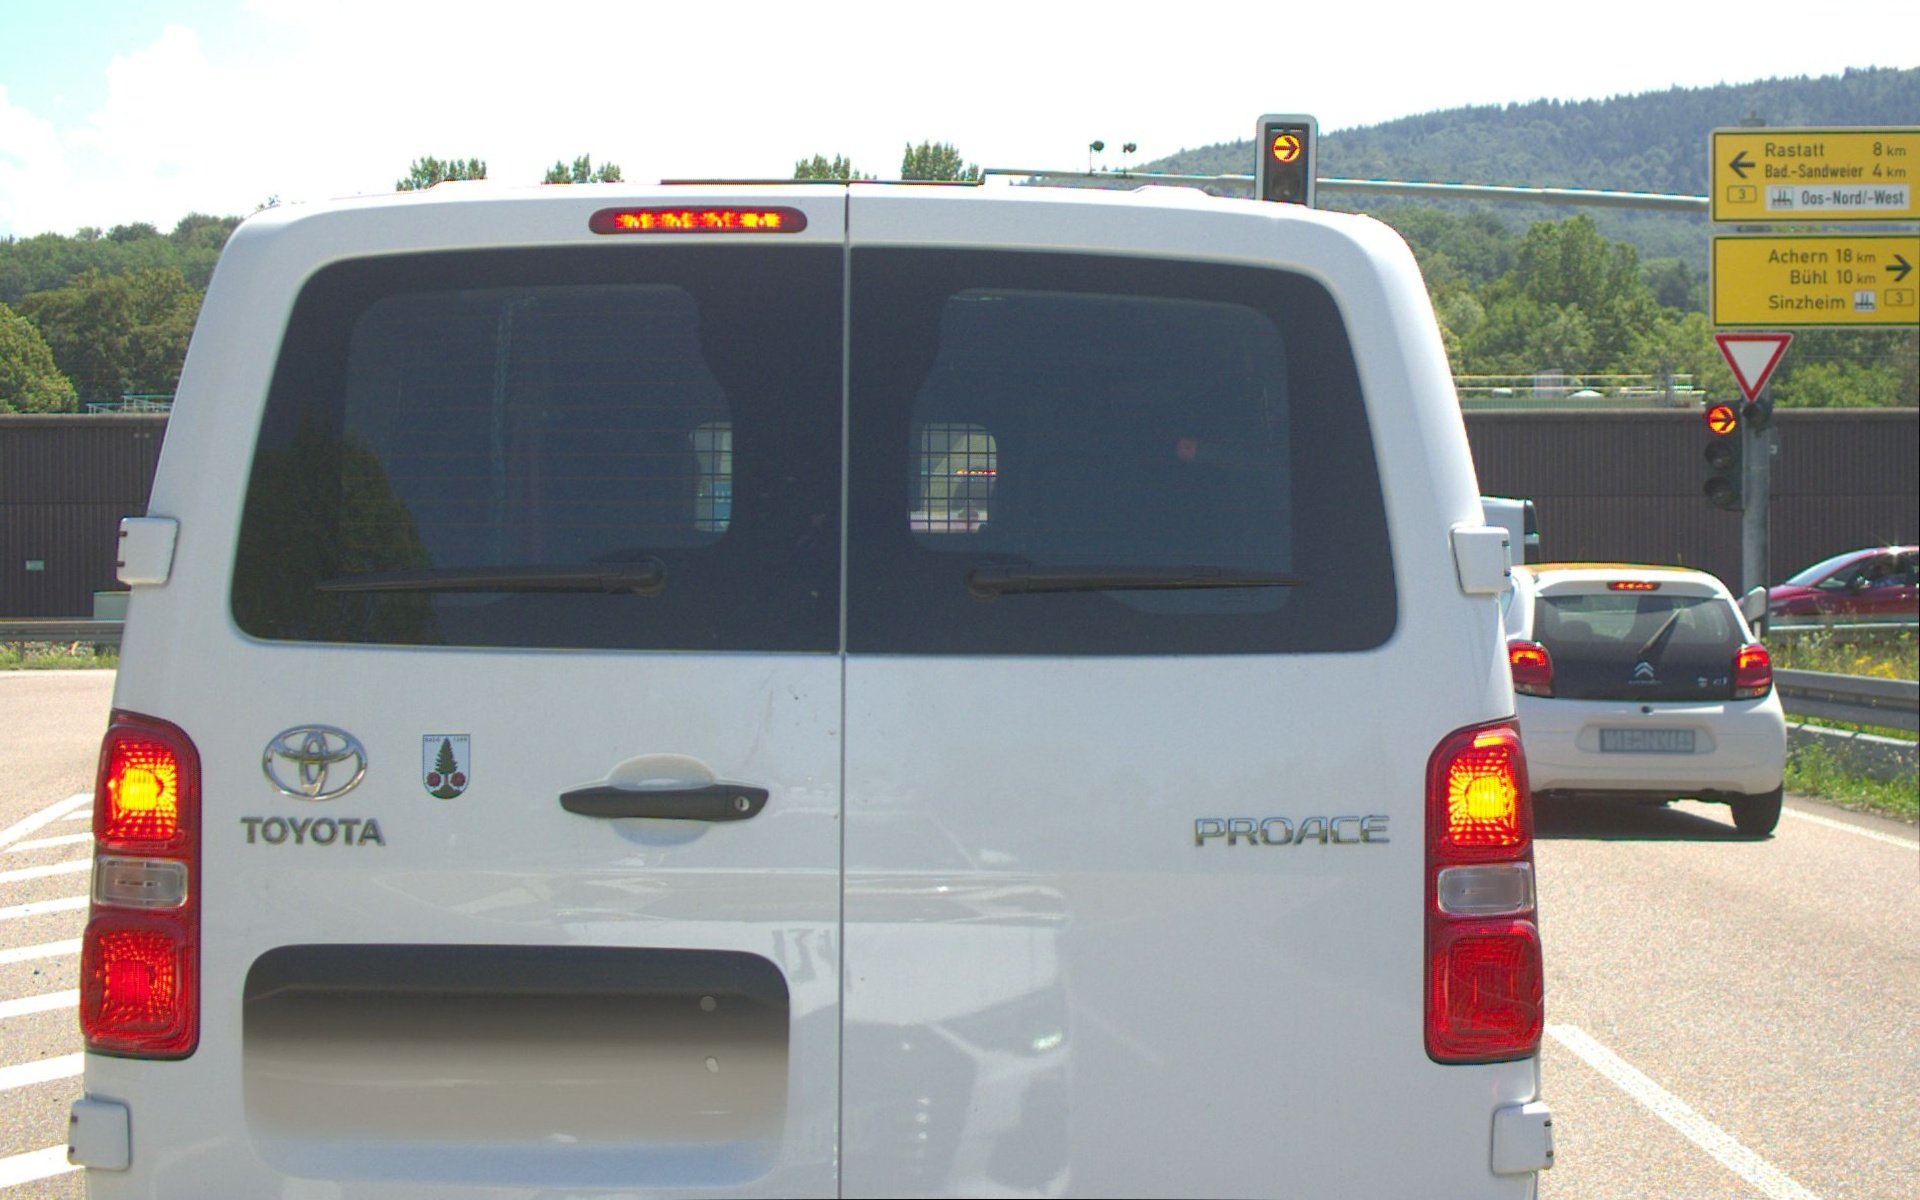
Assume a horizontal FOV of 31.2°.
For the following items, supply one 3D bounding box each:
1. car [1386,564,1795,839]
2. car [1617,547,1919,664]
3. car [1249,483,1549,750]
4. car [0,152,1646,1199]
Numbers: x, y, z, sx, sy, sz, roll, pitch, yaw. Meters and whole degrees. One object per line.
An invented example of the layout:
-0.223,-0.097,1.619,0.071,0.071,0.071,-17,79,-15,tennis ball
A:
3.523,0.516,19.764,1.656,1.426,3.366,1,1,-1,car
11.943,0.069,50.002,4.309,1.651,2.000,0,1,-3,car
3.516,0.096,28.380,1.928,1.993,4.837,1,1,1,car
-0.236,0.436,5.783,1.886,1.880,4.000,1,1,-1,car
